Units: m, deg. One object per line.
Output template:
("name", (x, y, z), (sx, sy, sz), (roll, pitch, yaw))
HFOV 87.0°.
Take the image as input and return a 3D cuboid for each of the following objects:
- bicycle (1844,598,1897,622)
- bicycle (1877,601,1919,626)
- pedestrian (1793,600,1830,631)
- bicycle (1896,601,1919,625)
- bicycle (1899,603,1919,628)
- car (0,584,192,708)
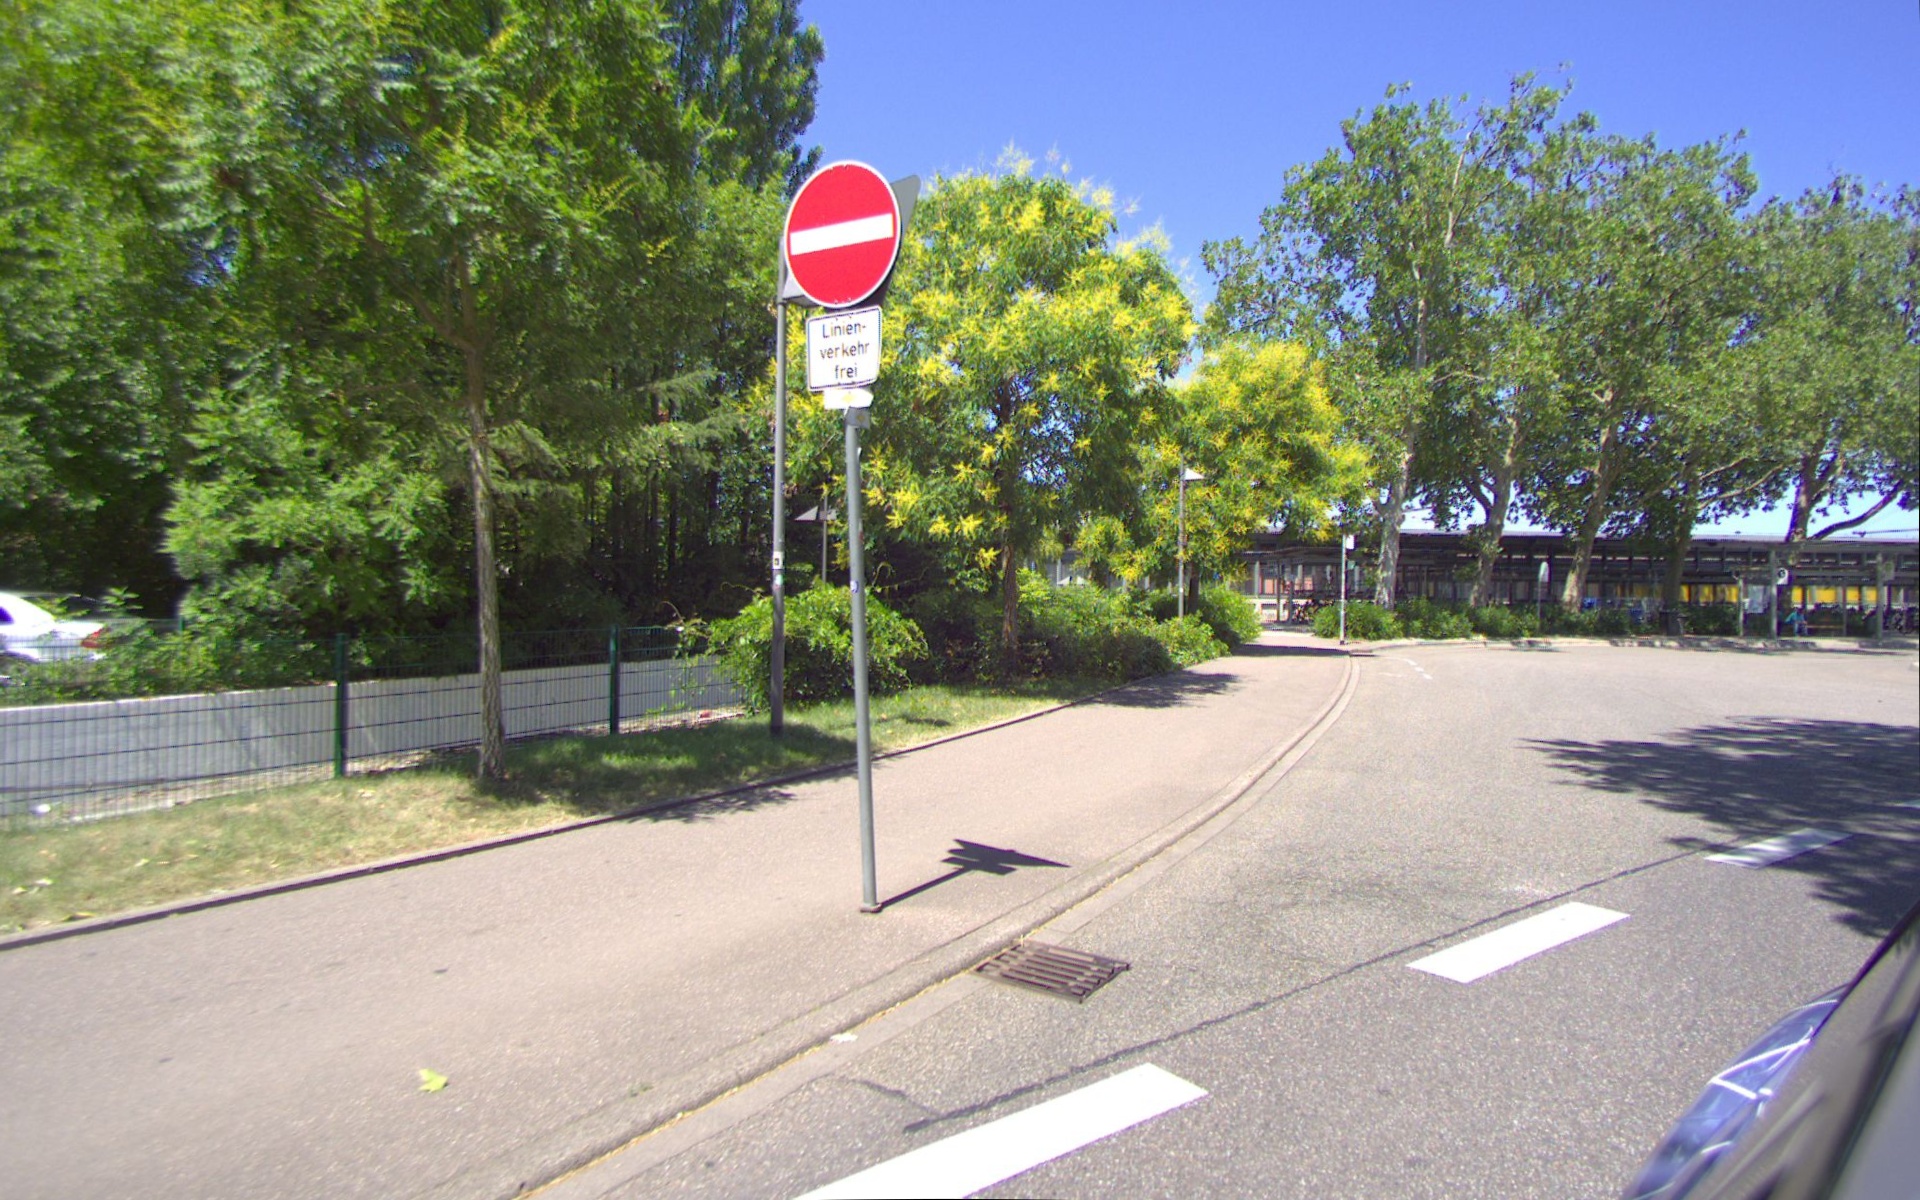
("bicycle", (46.683, 0.508, 51.891), (2.128, 1.086, 0.671), (-3, 2, -2))
("bicycle", (46.846, 0.678, 50.208), (2.128, 1.086, 0.671), (-3, 2, -2))
("pedestrian", (35.734, 0.637, 42.466), (0.850, 1.291, 0.832), (1, 0, -9))
("bicycle", (46.868, 0.603, 49.188), (2.128, 1.086, 0.671), (-3, 2, -2))
("bicycle", (43.960, 0.734, 45.799), (0.657, 1.086, 2.173), (-3, 2, -8))
("car", (-12.931, 0.543, 13.180), (4.410, 1.518, 1.772), (1, 0, -5))
